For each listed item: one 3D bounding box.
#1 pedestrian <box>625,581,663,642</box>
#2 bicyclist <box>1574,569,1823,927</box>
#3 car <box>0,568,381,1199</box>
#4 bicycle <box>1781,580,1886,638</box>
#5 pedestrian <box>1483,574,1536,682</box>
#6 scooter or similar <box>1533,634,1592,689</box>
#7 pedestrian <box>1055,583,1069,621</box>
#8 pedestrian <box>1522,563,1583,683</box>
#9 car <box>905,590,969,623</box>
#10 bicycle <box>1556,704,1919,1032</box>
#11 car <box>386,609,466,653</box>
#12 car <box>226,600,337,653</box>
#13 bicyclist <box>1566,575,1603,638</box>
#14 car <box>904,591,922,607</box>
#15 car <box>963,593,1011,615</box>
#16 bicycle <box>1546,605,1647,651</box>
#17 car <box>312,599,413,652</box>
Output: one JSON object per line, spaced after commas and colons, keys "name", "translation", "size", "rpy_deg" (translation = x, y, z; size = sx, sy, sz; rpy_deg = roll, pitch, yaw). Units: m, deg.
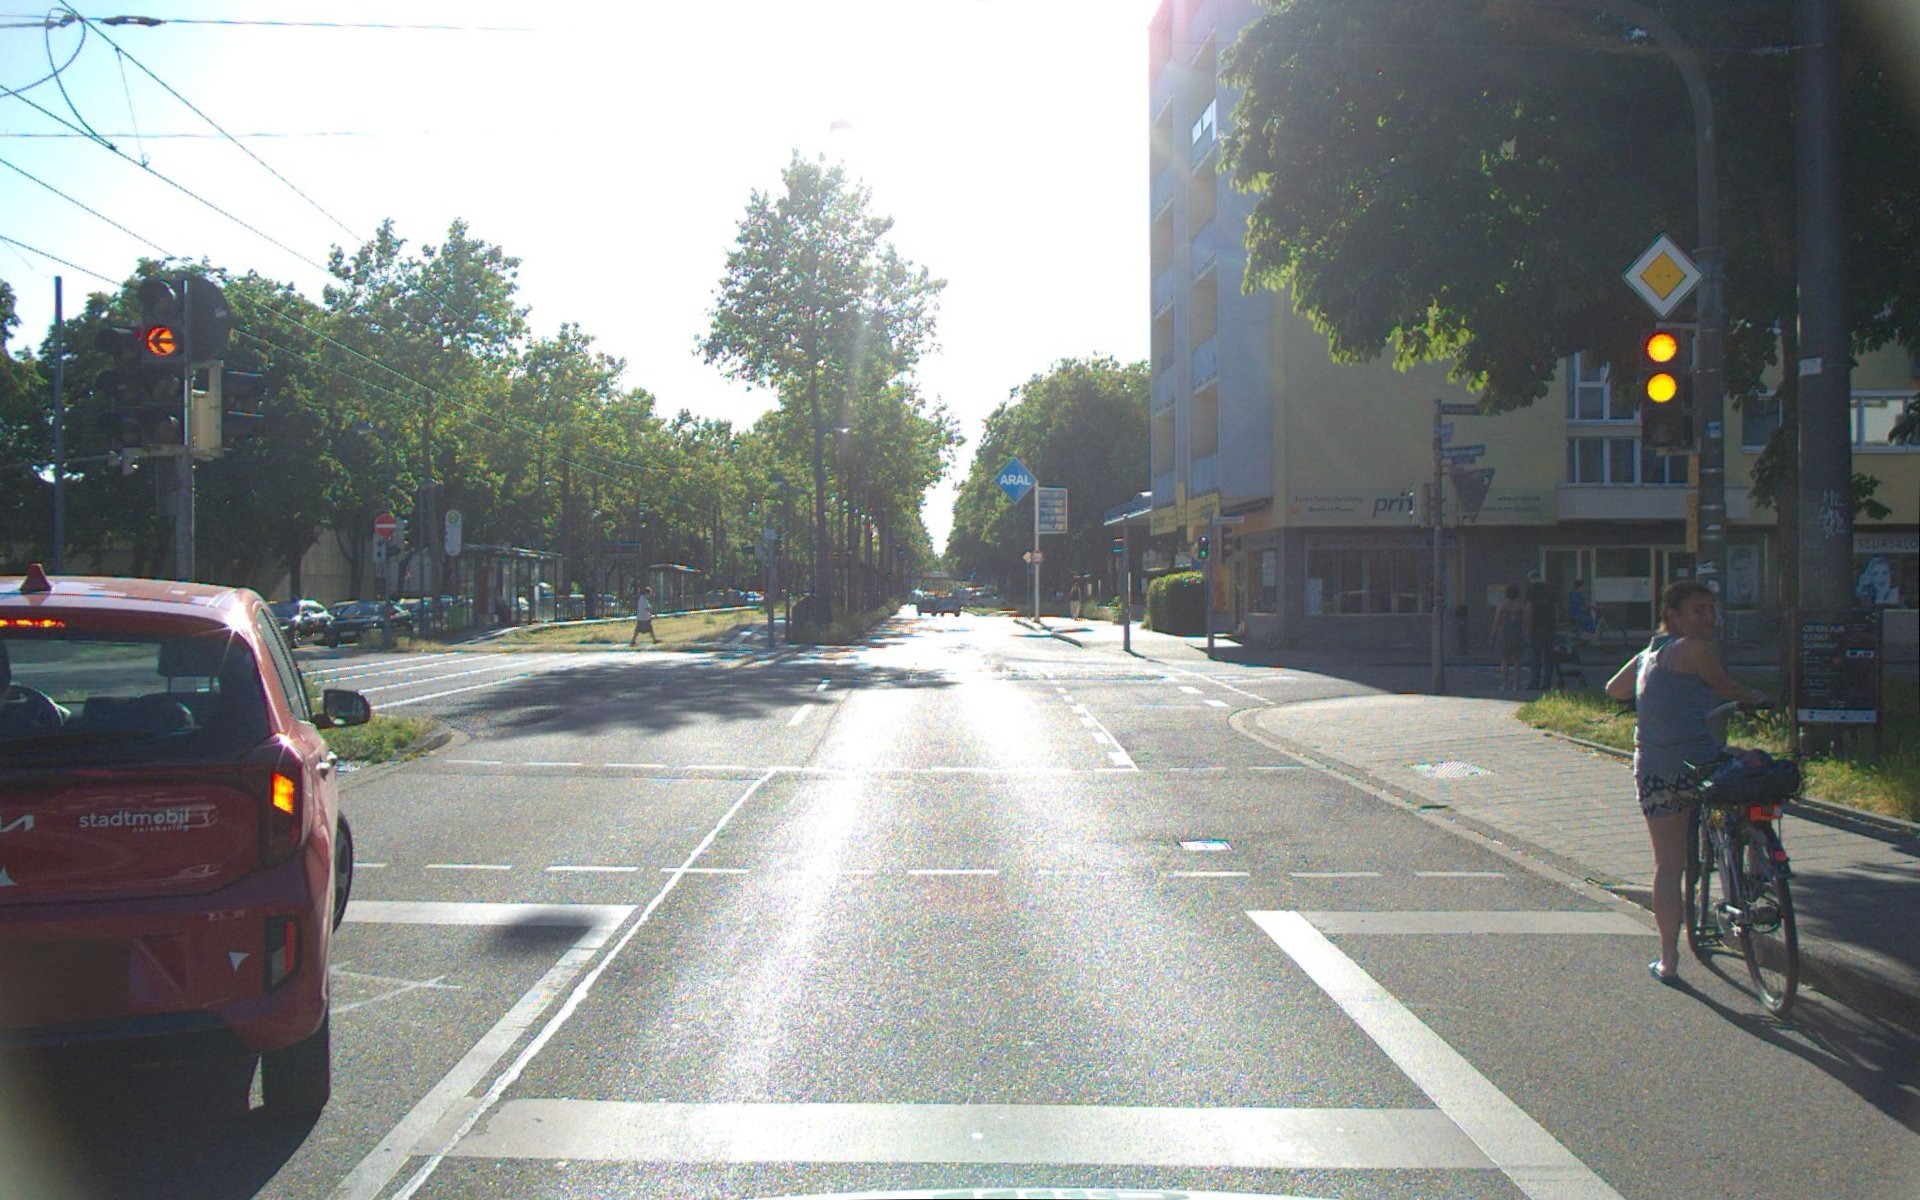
{"name": "pedestrian", "translation": [-8.670, 0.324, 45.386], "size": [0.873, 1.634, 0.613], "rpy_deg": [2, 0, -1]}
{"name": "bicyclist", "translation": [2.974, 0.565, 6.730], "size": [0.625, 1.346, 0.803], "rpy_deg": [2, 0, 1]}
{"name": "car", "translation": [-2.902, 0.671, 5.590], "size": [1.670, 1.534, 3.676], "rpy_deg": [1, 0, -21]}
{"name": "bicycle", "translation": [22.837, 0.232, 43.267], "size": [2.420, 1.424, 0.608], "rpy_deg": [2, 0, -2]}
{"name": "pedestrian", "translation": [8.058, 0.403, 24.280], "size": [0.633, 1.549, 0.496], "rpy_deg": [2, 0, 11]}
{"name": "scooter or similar", "translation": [8.796, 0.897, 24.176], "size": [0.586, 0.750, 0.681], "rpy_deg": [2, 0, -2]}
{"name": "pedestrian", "translation": [4.865, 0.076, 78.769], "size": [0.562, 1.778, 0.506], "rpy_deg": [2, 0, -2]}
{"name": "pedestrian", "translation": [8.724, 0.334, 24.369], "size": [0.714, 1.711, 0.533], "rpy_deg": [2, 0, 11]}
{"name": "car", "translation": [-1.437, 0.382, 101.263], "size": [1.989, 1.892, 3.950], "rpy_deg": [2, 0, -36]}
{"name": "bicycle", "translation": [3.011, 0.979, 6.600], "size": [0.634, 0.989, 1.804], "rpy_deg": [2, 0, 2]}
{"name": "car", "translation": [-18.862, 1.071, 58.565], "size": [1.534, 1.426, 3.914], "rpy_deg": [2, 0, -1]}
{"name": "car", "translation": [-21.398, 0.805, 52.342], "size": [1.770, 1.560, 4.360], "rpy_deg": [-1, 0, -1]}
{"name": "bicyclist", "translation": [15.250, 0.158, 40.417], "size": [0.752, 1.496, 0.899], "rpy_deg": [-1, 1, 16]}
{"name": "car", "translation": [-5.119, -0.093, 179.695], "size": [1.856, 1.639, 4.498], "rpy_deg": [2, 0, -2]}
{"name": "car", "translation": [2.413, 0.342, 147.788], "size": [3.944, 1.780, 1.738], "rpy_deg": [2, 0, -30]}
{"name": "bicycle", "translation": [15.524, 0.682, 40.398], "size": [2.204, 1.004, 0.790], "rpy_deg": [1, 5, 14]}
{"name": "car", "translation": [-18.845, 0.778, 52.355], "size": [1.653, 1.560, 4.360], "rpy_deg": [-1, 0, -1]}
